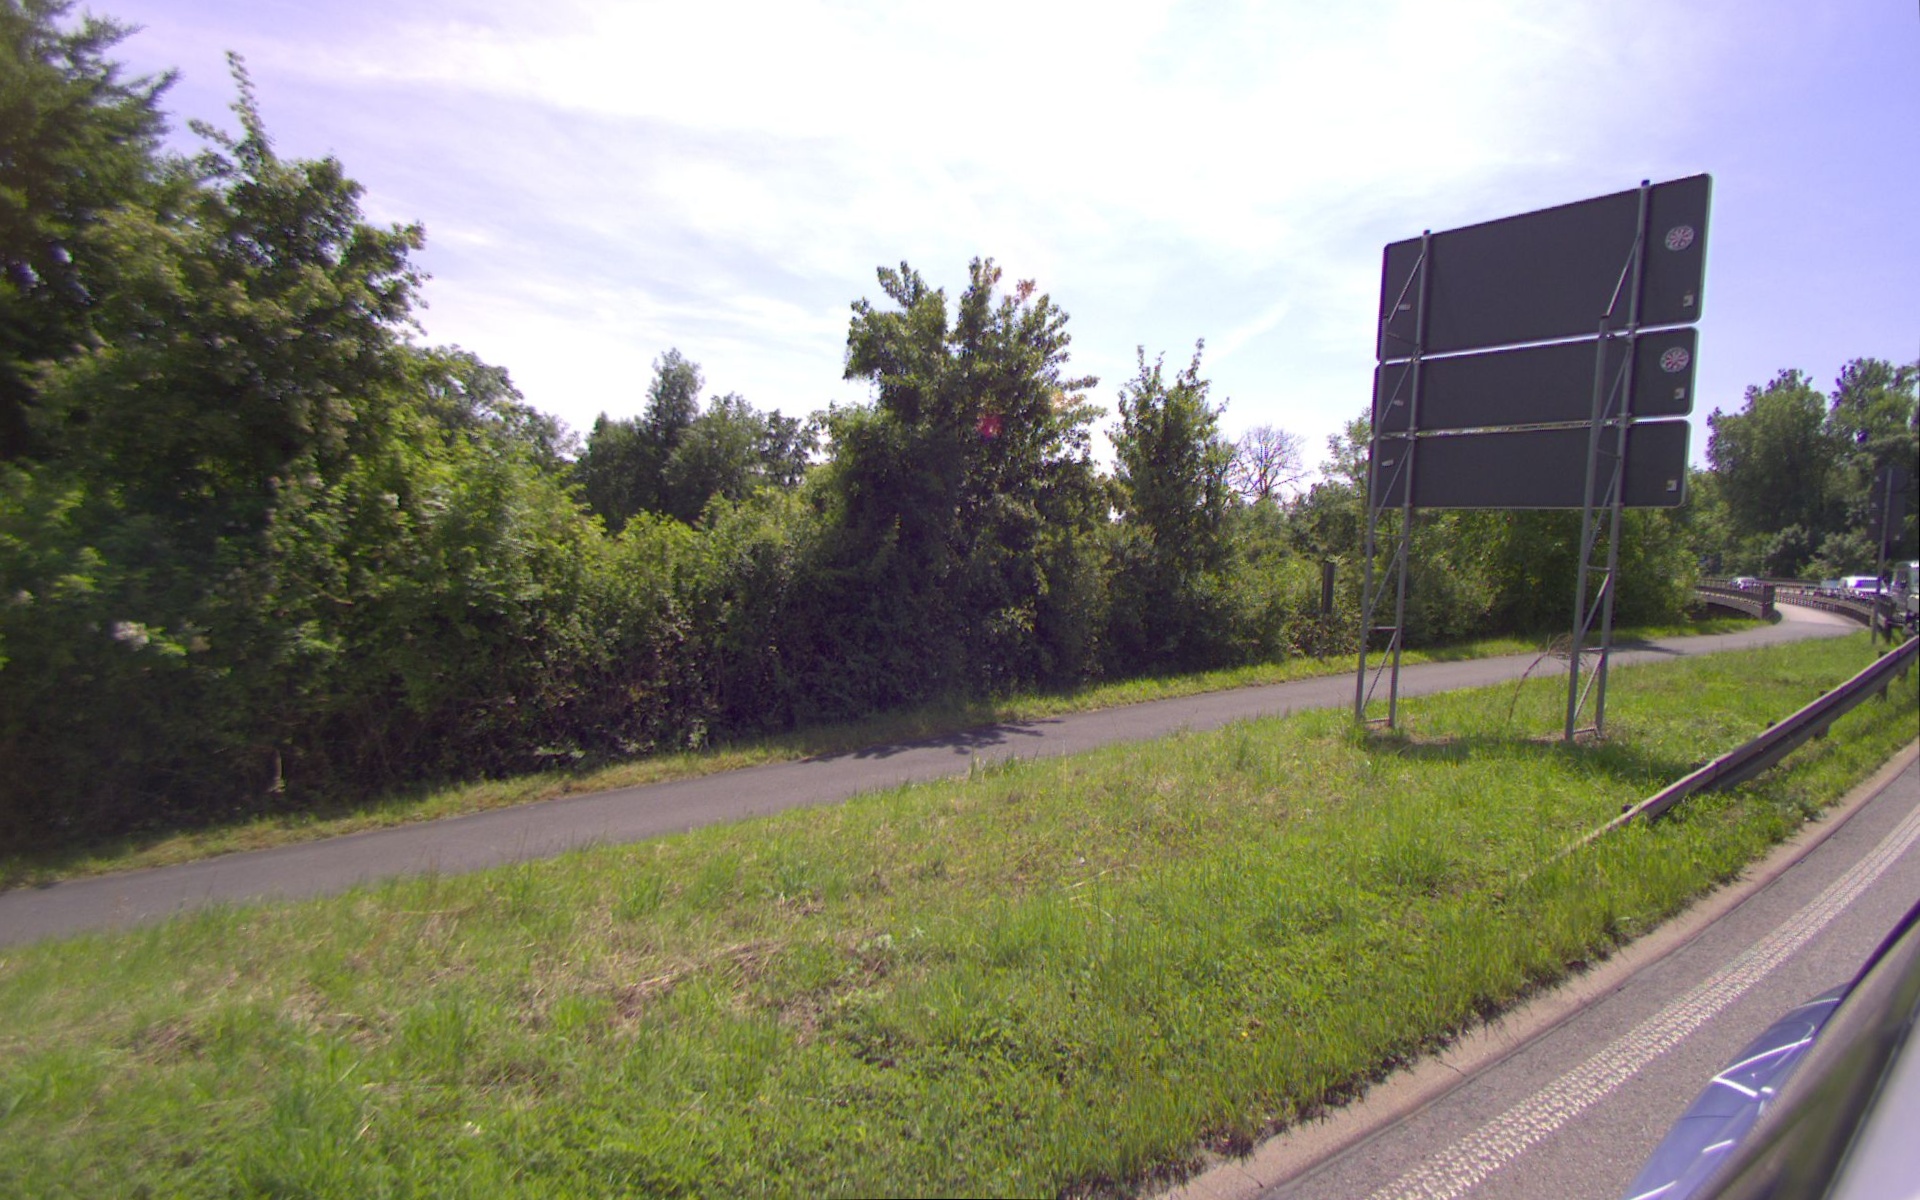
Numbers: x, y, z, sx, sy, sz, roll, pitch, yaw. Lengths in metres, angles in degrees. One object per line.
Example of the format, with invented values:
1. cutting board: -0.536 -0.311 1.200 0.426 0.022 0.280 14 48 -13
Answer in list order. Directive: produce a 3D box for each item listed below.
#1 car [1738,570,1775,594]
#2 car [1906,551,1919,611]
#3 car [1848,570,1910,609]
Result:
1. car: 70.096 -1.587 89.109 1.984 2.038 3.958 0 2 31
2. car: 42.630 -0.882 43.801 1.989 2.515 4.794 0 2 38
3. car: 51.056 -0.610 56.327 1.987 2.038 4.654 0 2 35
